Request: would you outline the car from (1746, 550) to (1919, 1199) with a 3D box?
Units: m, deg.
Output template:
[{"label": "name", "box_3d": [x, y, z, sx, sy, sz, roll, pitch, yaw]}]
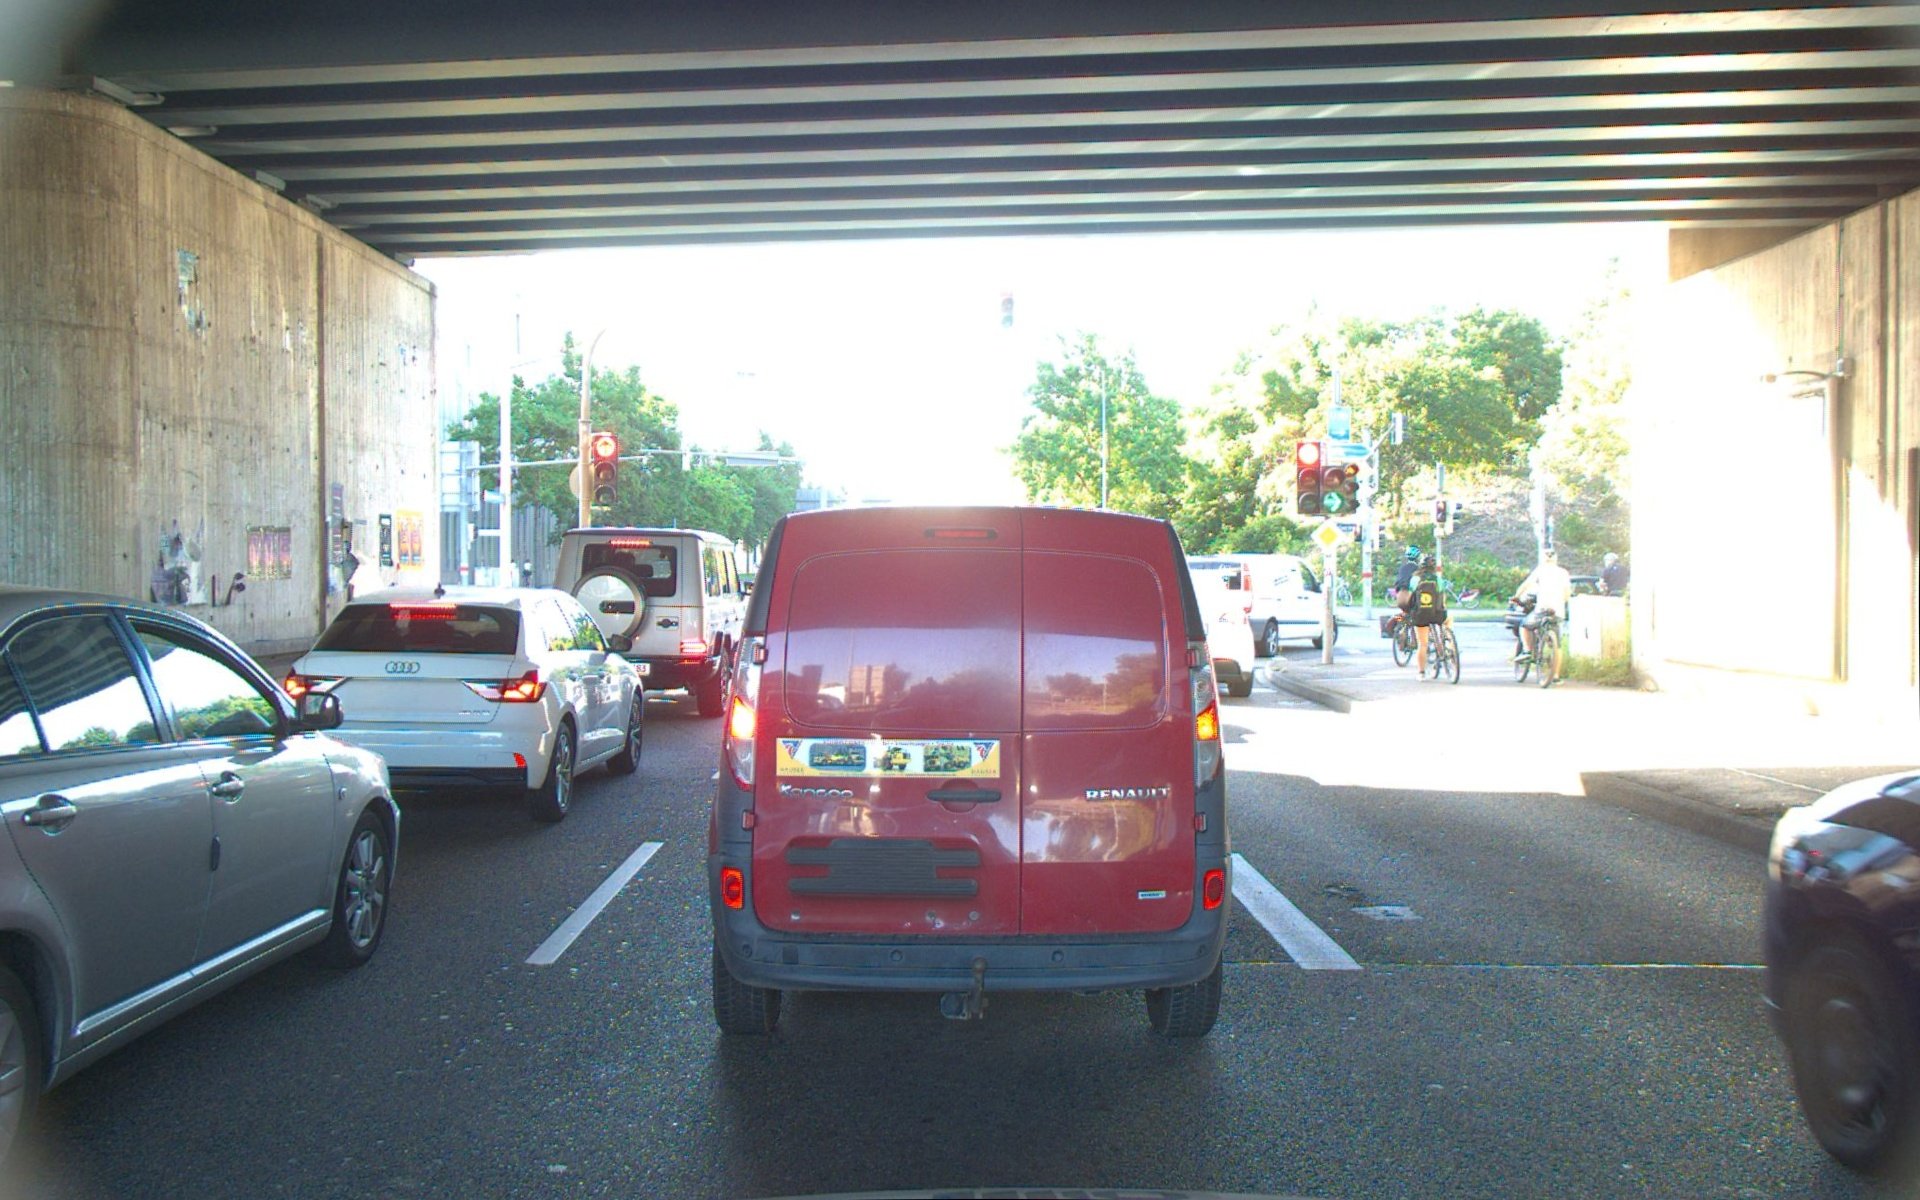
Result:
[{"label": "car", "box_3d": [3.318, 0.706, 2.913, 1.739, 1.629, 4.102, 1, 0, -3]}]

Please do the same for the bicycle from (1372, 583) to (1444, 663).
[{"label": "bicycle", "box_3d": [6.882, 0.339, 25.382, 0.639, 1.188, 1.775, 0, 0, 30]}]

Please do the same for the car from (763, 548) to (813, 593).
[{"label": "car", "box_3d": [-8.238, -1.407, 79.512, 1.953, 2.049, 3.999, 1, 0, -1]}]

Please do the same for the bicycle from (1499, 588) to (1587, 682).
[{"label": "bicycle", "box_3d": [7.294, 0.420, 20.759, 0.666, 1.132, 1.605, 0, 0, 5]}]

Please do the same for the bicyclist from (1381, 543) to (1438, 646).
[{"label": "bicyclist", "box_3d": [6.923, -0.085, 25.459, 0.640, 1.561, 0.845, 0, 0, 30]}]

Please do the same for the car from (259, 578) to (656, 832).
[{"label": "car", "box_3d": [-3.233, 0.592, 11.411, 1.658, 1.435, 3.812, 1, 0, -2]}]

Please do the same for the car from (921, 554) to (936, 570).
[{"label": "car", "box_3d": [-4.198, -5.031, 220.648, 1.953, 2.049, 3.999, 1, 0, -1]}]

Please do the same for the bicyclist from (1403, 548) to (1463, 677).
[{"label": "bicyclist", "box_3d": [6.233, 0.163, 21.801, 0.663, 1.657, 0.644, 1, 0, 10]}]

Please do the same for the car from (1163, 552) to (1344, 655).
[{"label": "car", "box_3d": [5.850, -0.005, 32.525, 1.863, 1.868, 4.824, 1, 2, 32]}]

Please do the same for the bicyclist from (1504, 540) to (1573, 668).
[{"label": "bicyclist", "box_3d": [7.303, 0.052, 20.894, 0.655, 1.589, 0.736, 0, 0, 5]}]

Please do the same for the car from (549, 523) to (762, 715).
[{"label": "car", "box_3d": [-3.338, 0.184, 18.787, 1.777, 1.937, 3.812, 1, 0, -2]}]

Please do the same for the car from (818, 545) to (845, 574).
[{"label": "car", "box_3d": [-9.743, -3.059, 125.534, 1.712, 2.049, 3.843, 1, 0, -1]}]

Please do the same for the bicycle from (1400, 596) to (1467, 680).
[{"label": "bicycle", "box_3d": [6.224, 0.488, 21.803, 0.662, 1.042, 1.530, 1, 0, 10]}]

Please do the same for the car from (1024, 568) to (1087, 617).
[{"label": "car", "box_3d": [3.012, -0.253, 52.745, 1.710, 1.481, 3.716, 1, 0, -1]}]

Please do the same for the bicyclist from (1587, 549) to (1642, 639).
[{"label": "bicyclist", "box_3d": [12.439, -0.109, 31.437, 0.735, 1.684, 0.882, 1, 0, 38]}]

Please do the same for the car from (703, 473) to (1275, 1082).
[{"label": "car", "box_3d": [0.062, 0.520, 6.936, 1.684, 1.795, 3.999, 1, 0, -1]}]

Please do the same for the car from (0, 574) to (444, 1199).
[{"label": "car", "box_3d": [-2.995, 0.660, 4.853, 1.662, 1.480, 4.397, 1, 0, -2]}]

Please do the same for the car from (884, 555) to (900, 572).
[{"label": "car", "box_3d": [-8.878, -4.746, 216.221, 1.890, 2.049, 3.913, 1, 0, -1]}]

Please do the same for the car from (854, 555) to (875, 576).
[{"label": "car", "box_3d": [-9.652, -3.479, 167.748, 1.953, 2.049, 3.999, 1, 0, -1]}]

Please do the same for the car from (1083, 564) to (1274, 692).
[{"label": "car", "box_3d": [2.884, 0.366, 22.819, 1.953, 1.578, 4.419, -1, -1, -1]}]
